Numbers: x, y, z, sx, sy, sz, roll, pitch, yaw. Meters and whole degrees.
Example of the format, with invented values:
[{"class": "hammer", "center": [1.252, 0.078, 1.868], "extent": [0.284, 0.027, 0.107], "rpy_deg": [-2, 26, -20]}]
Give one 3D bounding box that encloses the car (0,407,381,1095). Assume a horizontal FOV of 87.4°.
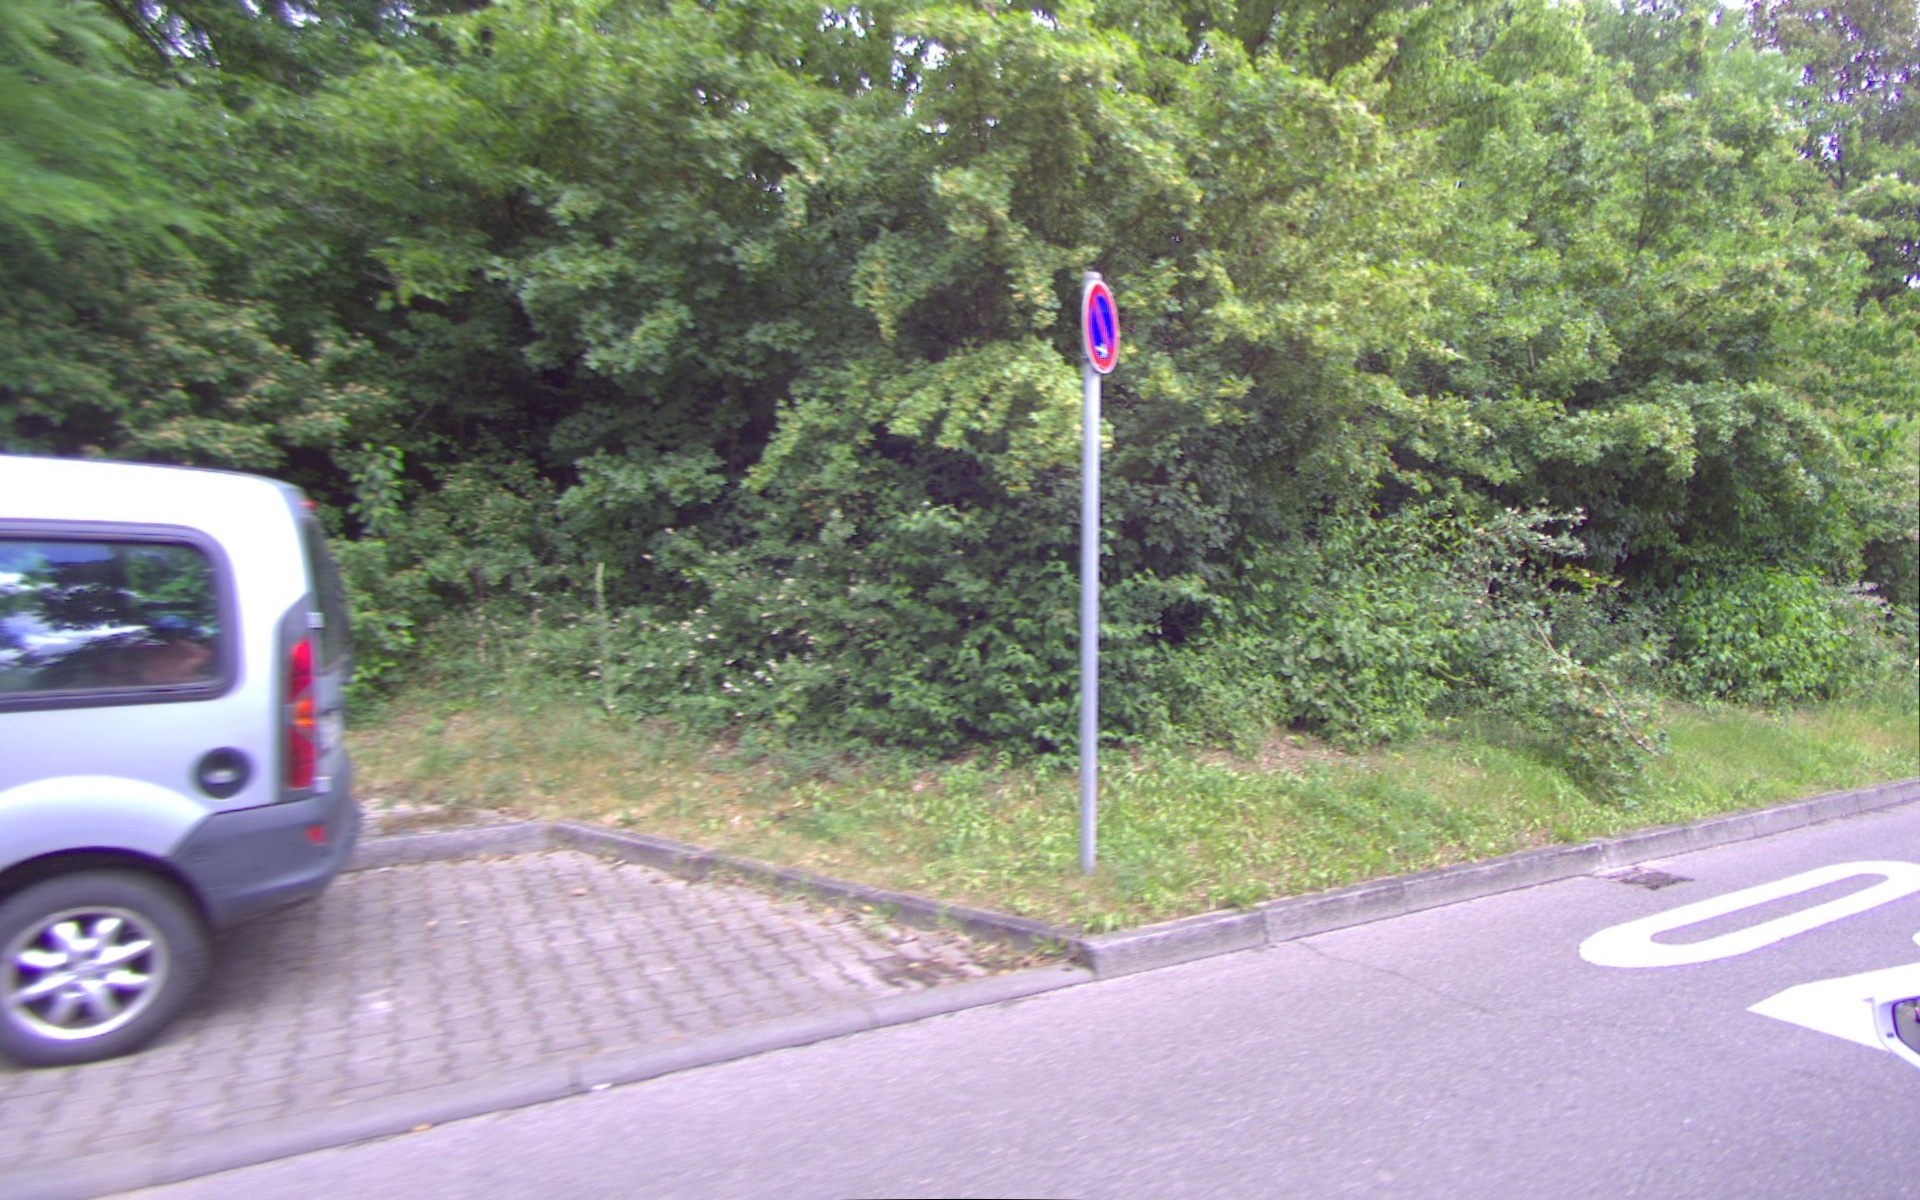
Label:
[{"class": "car", "center": [-4.106, 0.393, 3.015], "extent": [4.055, 1.947, 1.713], "rpy_deg": [0, 3, -29]}]
